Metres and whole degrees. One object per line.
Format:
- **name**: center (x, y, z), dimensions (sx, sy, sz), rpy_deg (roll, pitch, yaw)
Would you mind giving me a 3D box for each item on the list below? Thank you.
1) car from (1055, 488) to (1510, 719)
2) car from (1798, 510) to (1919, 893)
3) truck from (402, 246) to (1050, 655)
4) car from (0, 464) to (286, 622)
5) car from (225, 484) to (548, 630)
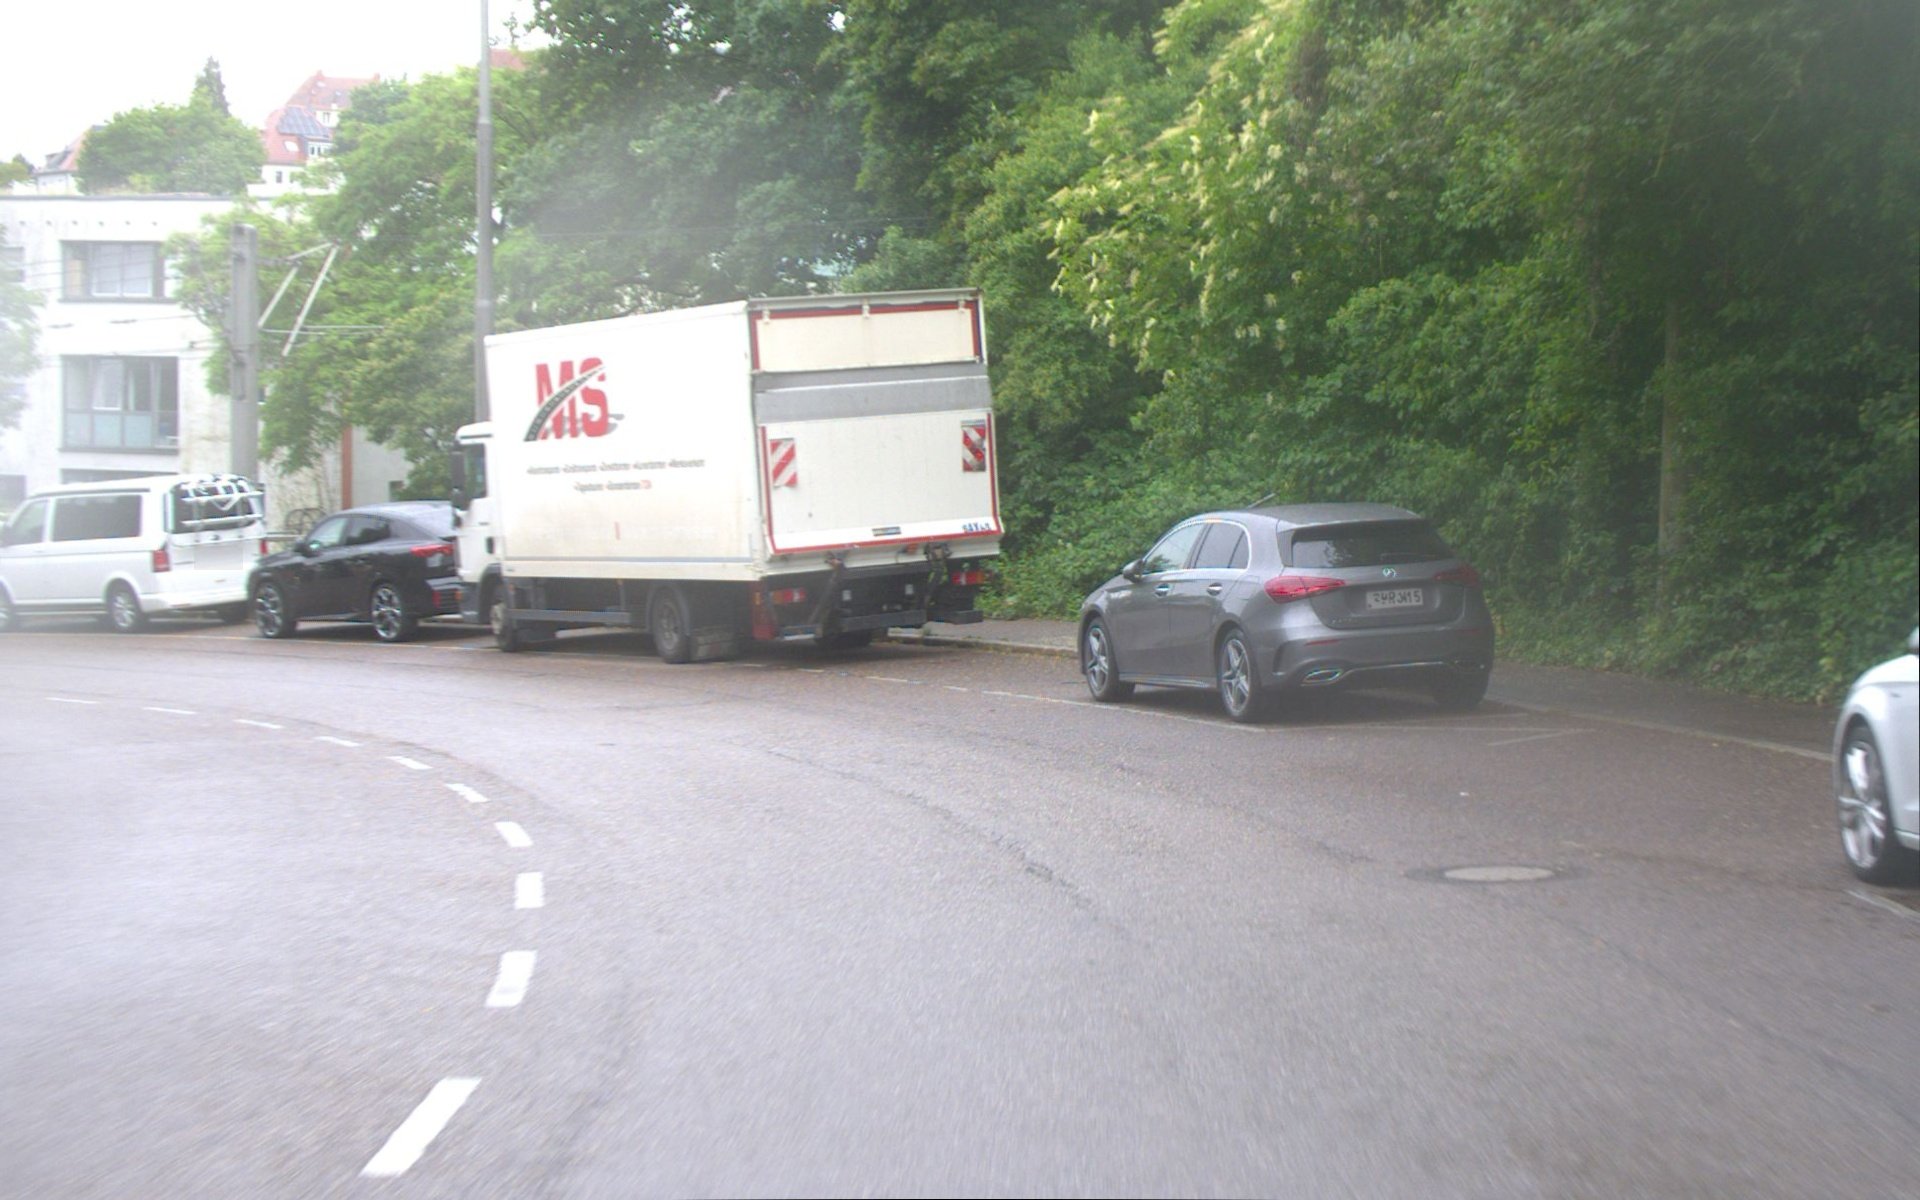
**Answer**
- **car**: center (2.207, -0.047, 24.707), dimensions (1.720, 1.439, 4.126), rpy_deg (-3, 3, -18)
- **car**: center (4.459, 0.399, 12.173), dimensions (1.755, 1.395, 4.097), rpy_deg (0, 2, -4)
- **truck**: center (-2.672, -1.453, 35.385), dimensions (3.007, 3.561, 8.337), rpy_deg (-6, 4, -30)
- **car**: center (-11.257, -0.744, 46.113), dimensions (4.687, 2.007, 1.878), rpy_deg (0, 2, 43)
- **car**: center (-6.971, -0.523, 41.514), dimensions (1.719, 1.550, 4.275), rpy_deg (-7, 5, -41)
